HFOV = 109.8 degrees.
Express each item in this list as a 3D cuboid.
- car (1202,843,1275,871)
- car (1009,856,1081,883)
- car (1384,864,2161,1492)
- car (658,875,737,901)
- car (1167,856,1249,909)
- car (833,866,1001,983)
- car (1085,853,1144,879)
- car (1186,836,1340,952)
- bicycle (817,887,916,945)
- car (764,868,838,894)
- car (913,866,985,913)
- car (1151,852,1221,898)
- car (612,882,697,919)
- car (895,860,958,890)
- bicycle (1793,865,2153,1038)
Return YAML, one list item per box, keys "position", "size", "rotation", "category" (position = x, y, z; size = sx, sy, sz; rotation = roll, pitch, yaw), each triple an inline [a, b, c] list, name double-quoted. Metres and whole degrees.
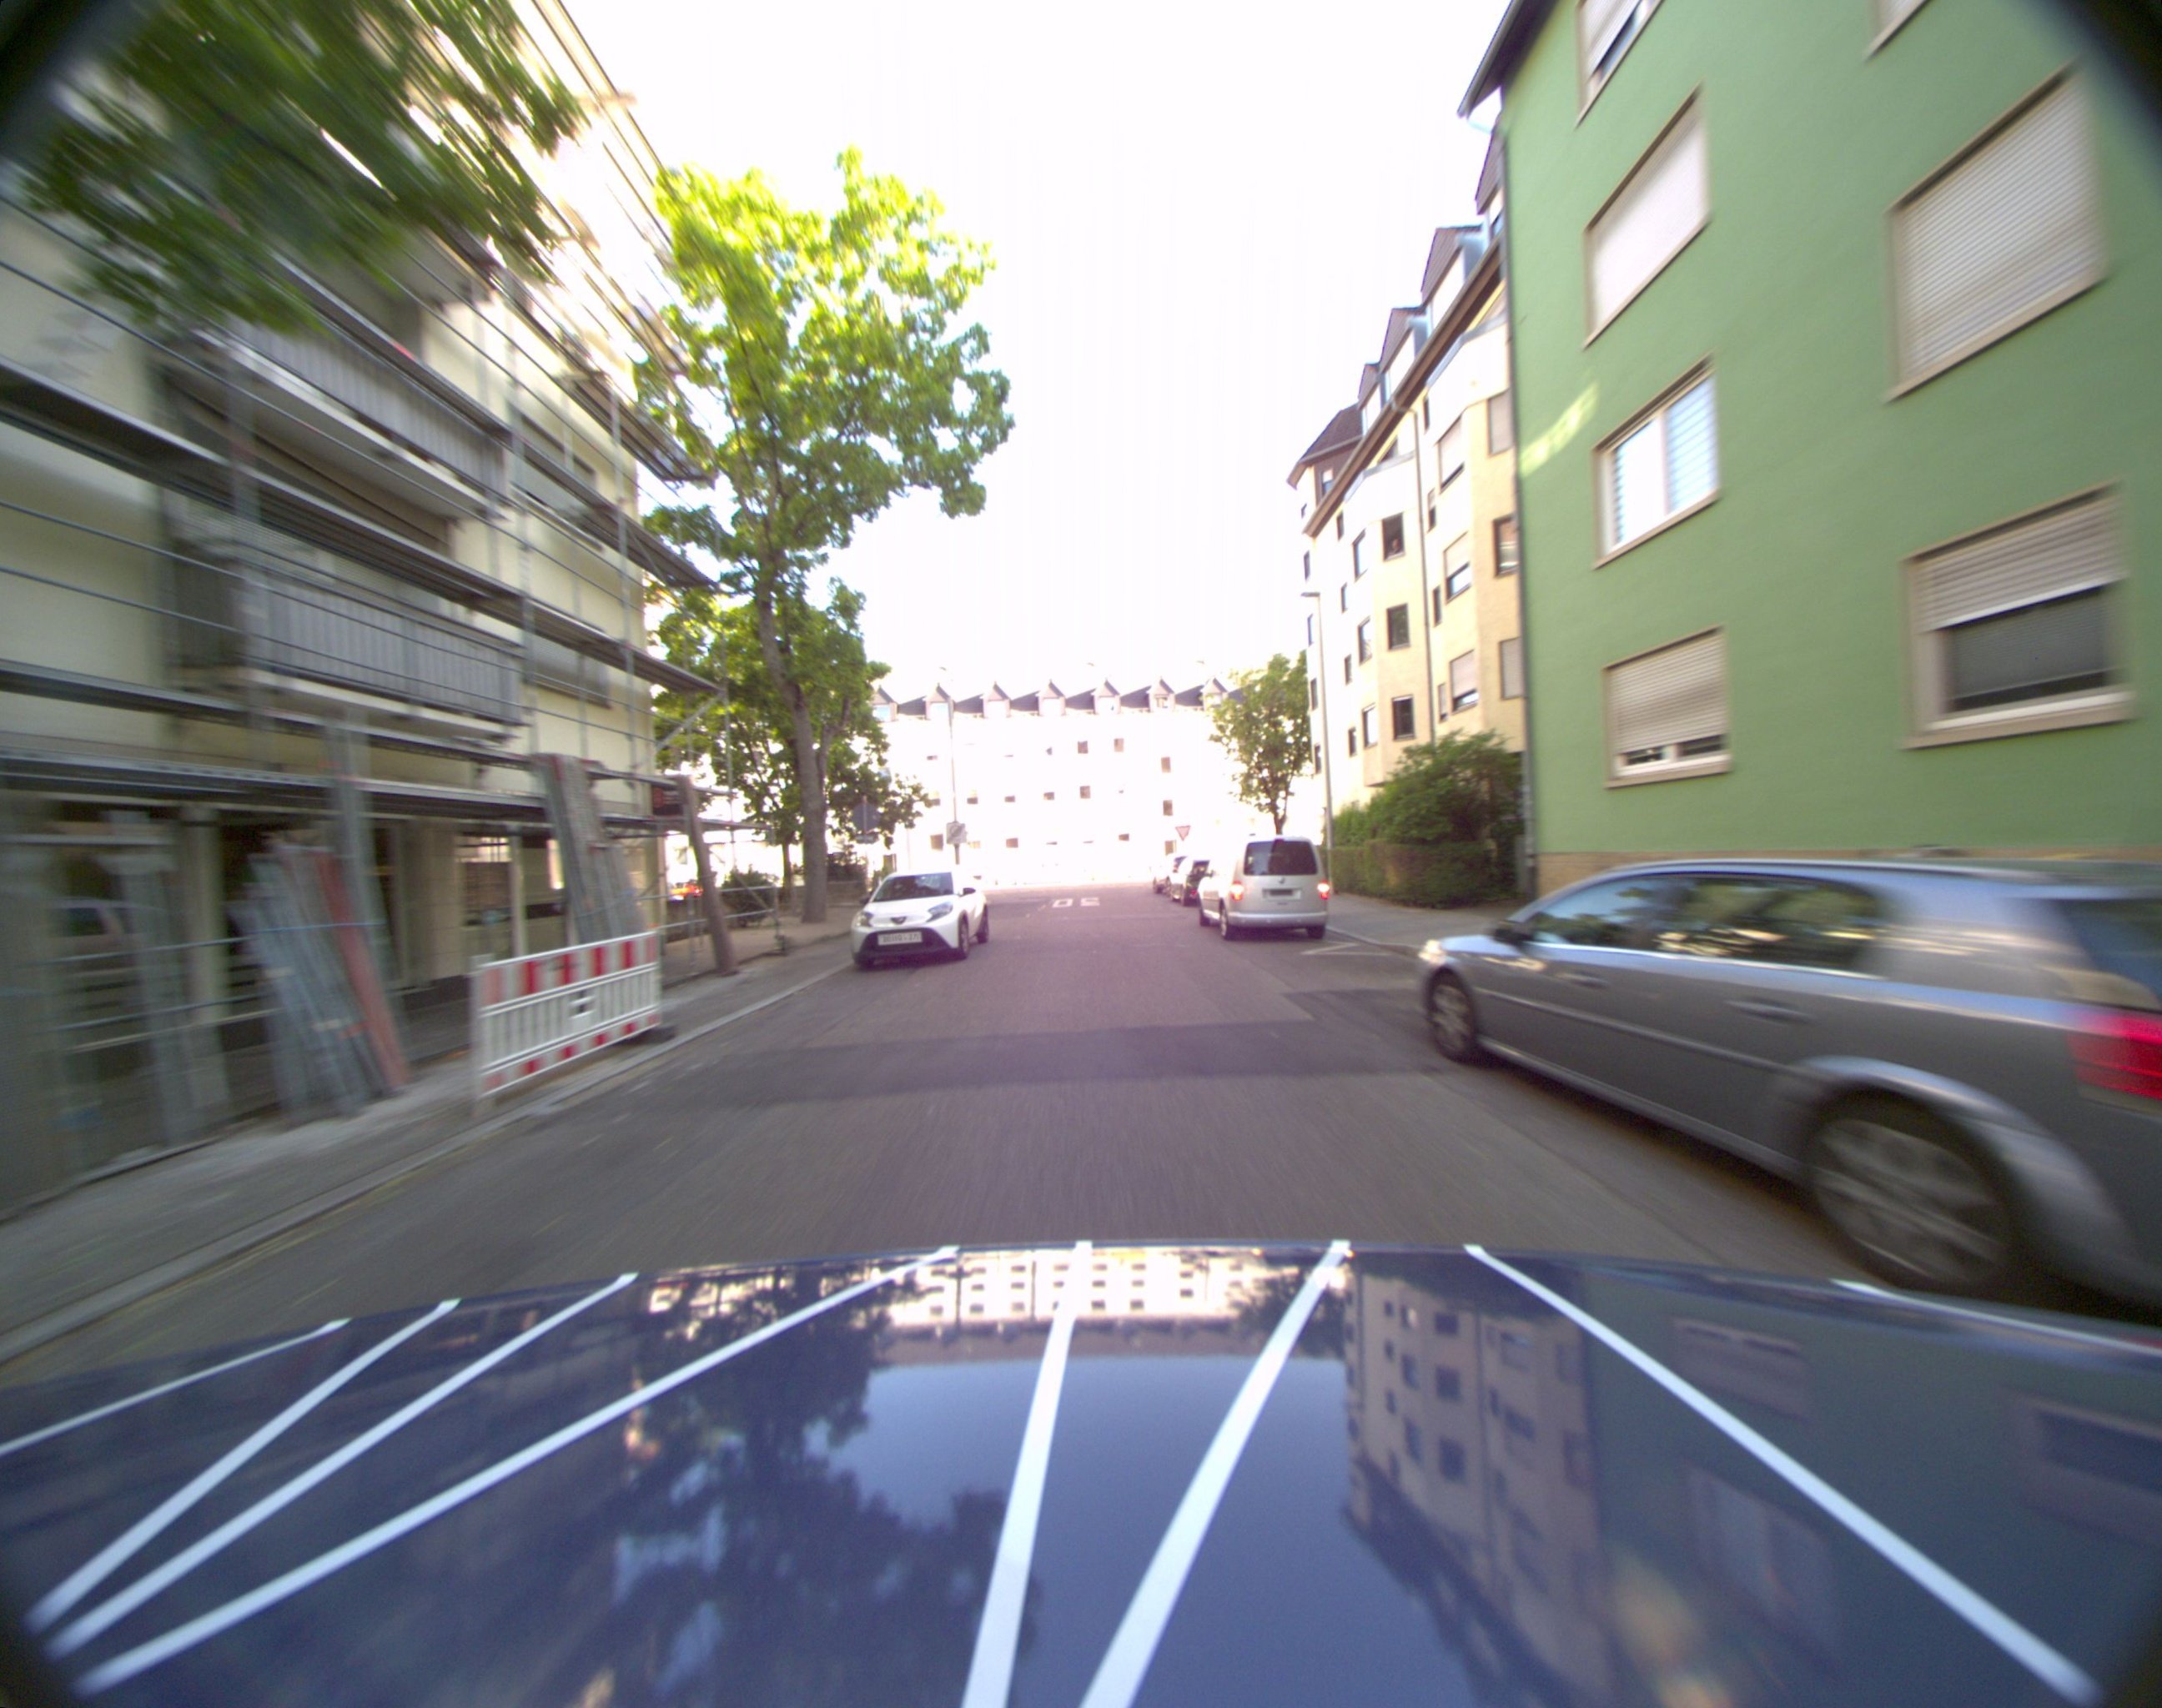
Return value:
- position: [10.522, 0.210, 50.793]
  size: [4.285, 1.548, 1.999]
  rotation: [-4, 0, -8]
  category: "car"
- position: [-2.357, 0.981, 49.227]
  size: [4.493, 1.498, 1.944]
  rotation: [-3, 0, -5]
  category: "car"
- position: [3.445, 0.828, 4.065]
  size: [1.724, 1.454, 4.506]
  rotation: [-1, 0, -2]
  category: "car"
- position: [-23.595, 2.071, 46.895]
  size: [3.999, 1.344, 1.549]
  rotation: [-3, 0, -6]
  category: "car"
- position: [3.744, 0.784, 23.018]
  size: [1.770, 1.444, 4.207]
  rotation: [0, 0, 0]
  category: "car"
- position: [-2.633, 1.073, 13.187]
  size: [1.807, 1.526, 3.964]
  rotation: [-4, 0, 2]
  category: "car"
- position: [2.186, 0.742, 49.769]
  size: [3.613, 1.440, 1.553]
  rotation: [-3, 1, -7]
  category: "car"
- position: [3.239, 0.626, 14.408]
  size: [1.776, 1.832, 4.415]
  rotation: [-1, 1, -1]
  category: "car"
- position: [-4.481, 1.282, 15.976]
  size: [1.973, 1.148, 0.751]
  rotation: [0, 0, -14]
  category: "bicycle"
- position: [-17.506, 1.675, 47.631]
  size: [3.999, 1.344, 1.549]
  rotation: [-3, 0, -6]
  category: "car"
- position: [-4.465, 1.174, 26.359]
  size: [1.665, 1.399, 4.507]
  rotation: [0, 0, 0]
  category: "car"
- position: [3.828, 0.725, 28.369]
  size: [1.724, 1.546, 4.072]
  rotation: [-1, 0, -5]
  category: "car"
- position: [-18.442, 1.992, 32.933]
  size: [2.881, 1.348, 1.261]
  rotation: [-3, 2, -10]
  category: "car"
- position: [-9.813, 1.340, 48.345]
  size: [3.706, 1.598, 1.648]
  rotation: [-4, 0, -7]
  category: "car"
- position: [6.916, 0.668, 6.085]
  size: [0.488, 1.069, 1.969]
  rotation: [-7, 1, 1]
  category: "bicycle"
